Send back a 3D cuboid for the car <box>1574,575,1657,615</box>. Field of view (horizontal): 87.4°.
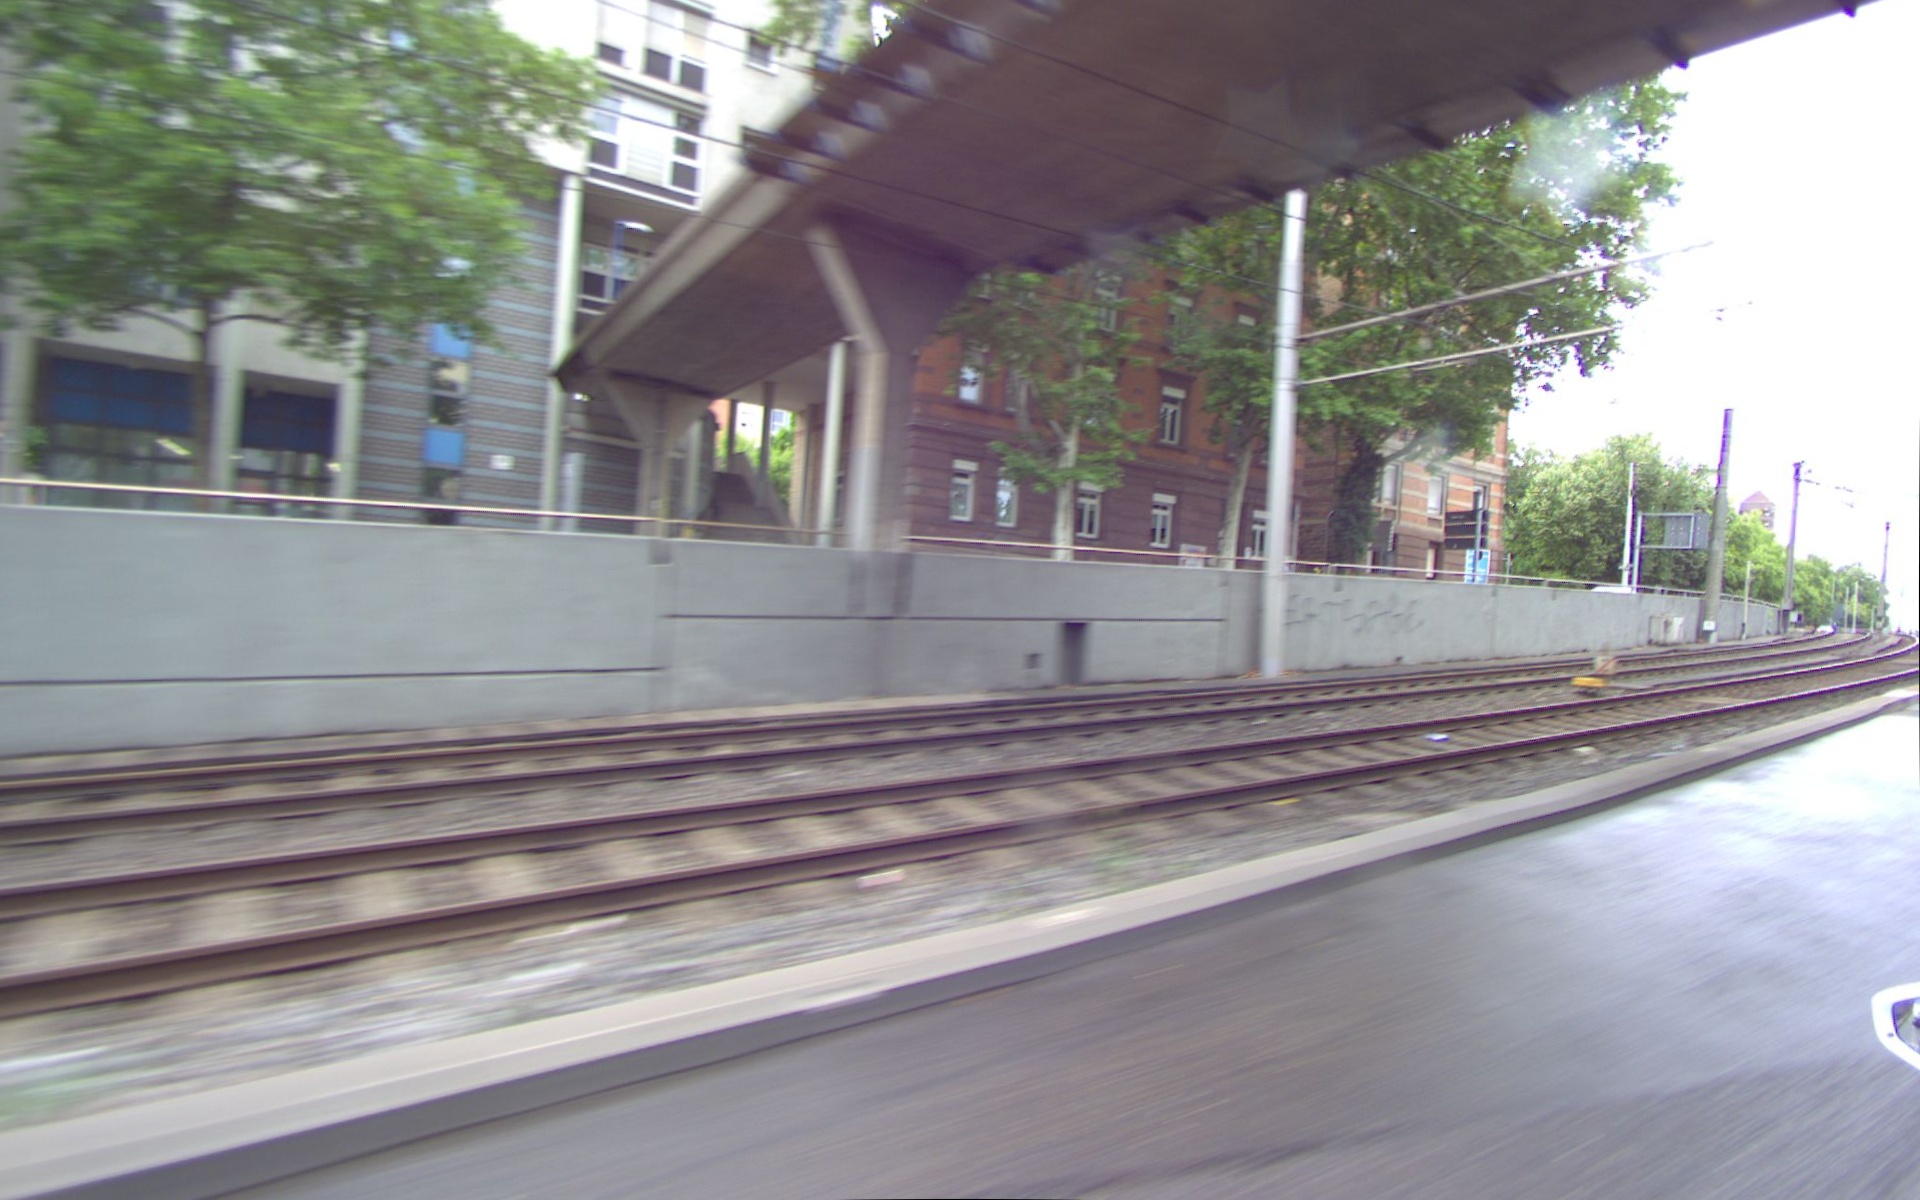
[{"bbox_3d":[29.297,-0.207,44.832,4.322,1.633,1.779,1,3,-39],"label":"car"}]

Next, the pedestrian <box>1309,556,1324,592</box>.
[{"bbox_3d":[13.583,-0.994,38.222,0.500,1.352,0.331,0,0,-40],"label":"pedestrian"}]

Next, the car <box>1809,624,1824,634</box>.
[{"bbox_3d":[151.870,5.117,178.082,1.775,1.530,3.825,3,2,44],"label":"car"}]

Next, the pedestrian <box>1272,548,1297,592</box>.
[{"bbox_3d":[12.425,-1.153,38.467,0.713,1.646,0.591,0,0,-25],"label":"pedestrian"}]

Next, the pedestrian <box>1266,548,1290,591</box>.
[{"bbox_3d":[12.471,-1.182,39.376,0.713,1.646,0.591,0,0,-25],"label":"pedestrian"}]
